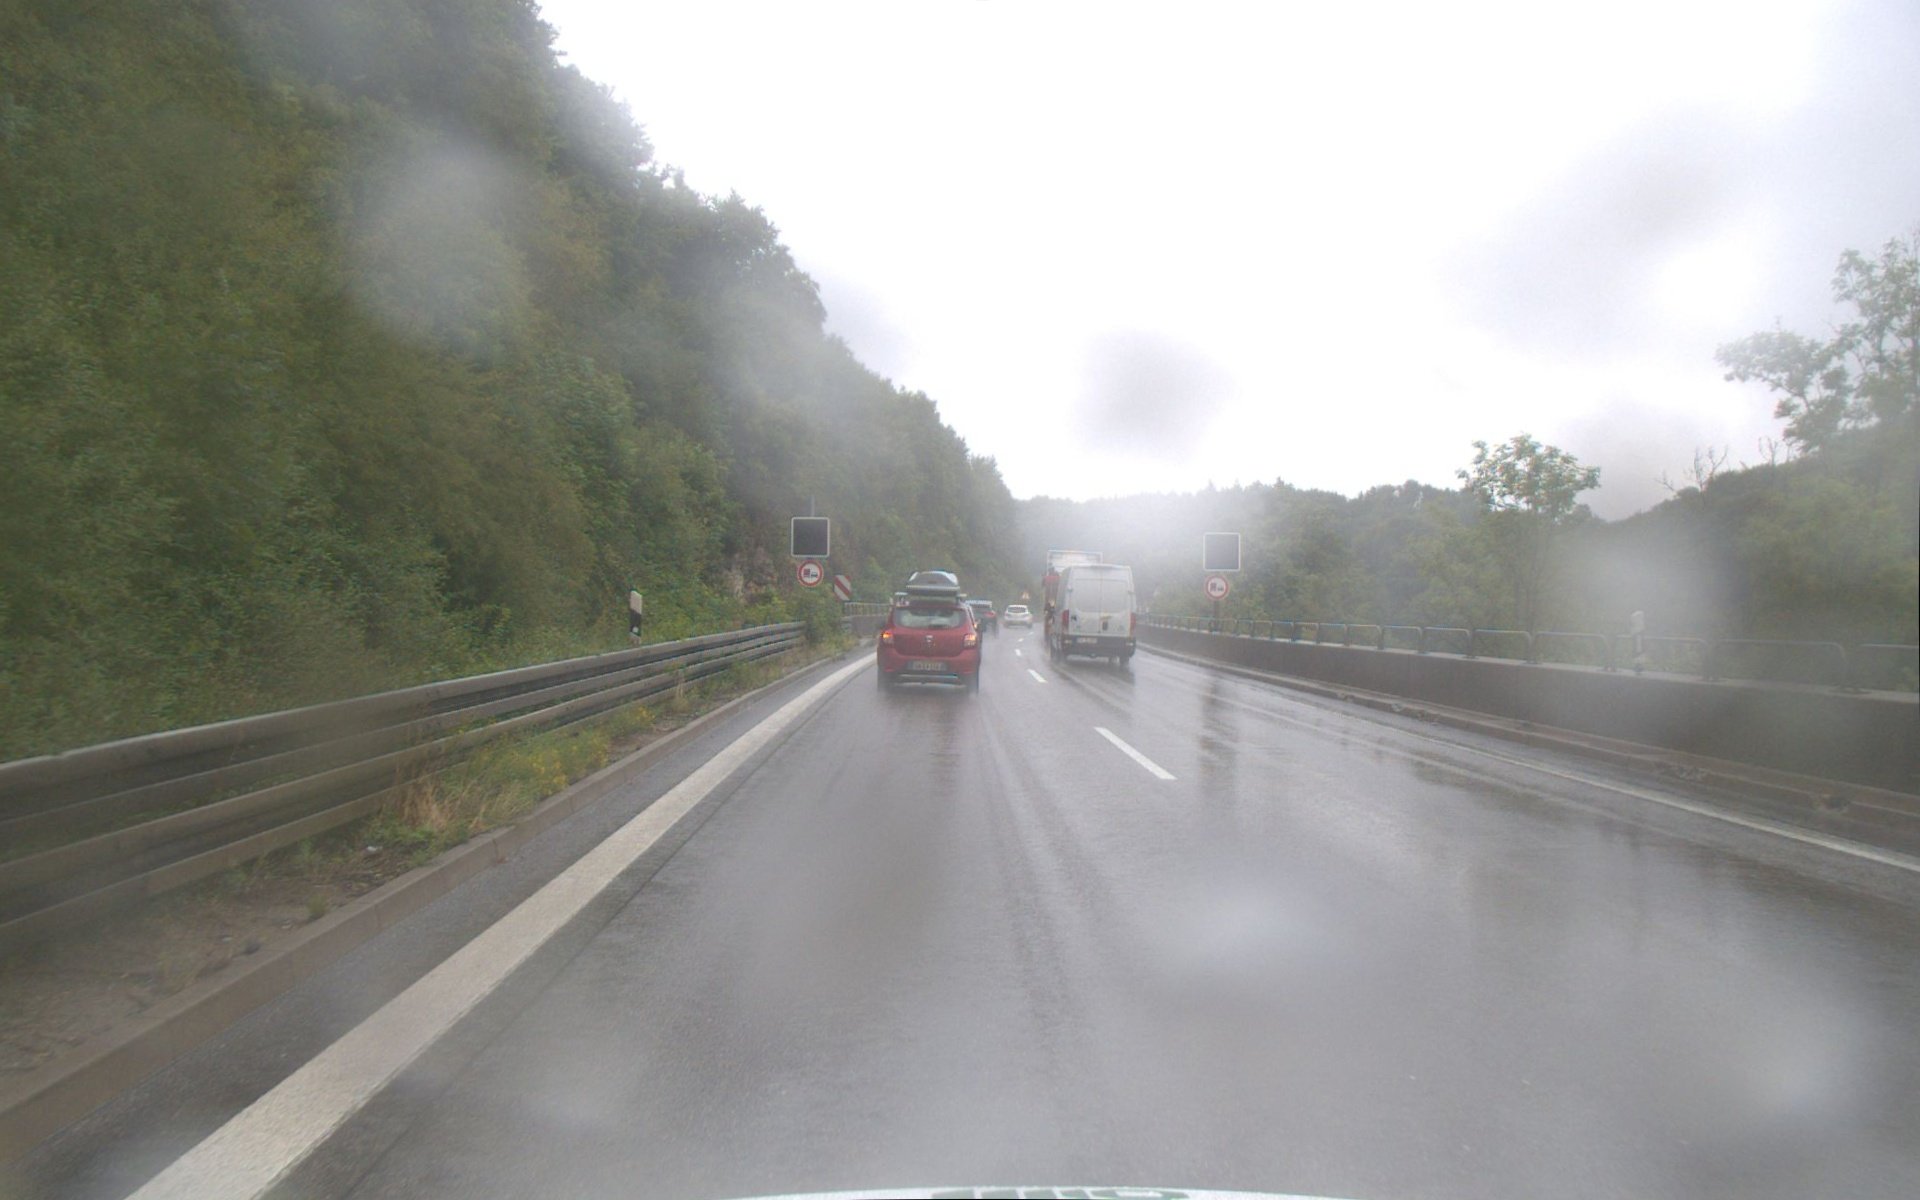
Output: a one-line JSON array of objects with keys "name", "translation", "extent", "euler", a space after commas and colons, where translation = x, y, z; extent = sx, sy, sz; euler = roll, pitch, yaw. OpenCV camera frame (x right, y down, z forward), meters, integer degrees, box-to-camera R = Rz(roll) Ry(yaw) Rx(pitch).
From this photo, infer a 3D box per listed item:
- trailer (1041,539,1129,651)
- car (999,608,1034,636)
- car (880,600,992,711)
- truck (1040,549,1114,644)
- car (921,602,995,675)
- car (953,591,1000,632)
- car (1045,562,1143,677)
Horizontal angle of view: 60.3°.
[{"name": "trailer", "translation": [4.882, -0.161, 67.202], "extent": [3.151, 4.069, 13.528], "euler": [0, 0, 3]}, {"name": "car", "translation": [3.660, 1.388, 105.945], "extent": [1.951, 1.668, 4.002], "euler": [-2, -1, 6]}, {"name": "car", "translation": [-0.405, 0.906, 28.219], "extent": [1.722, 1.714, 3.999], "euler": [-2, -1, -1]}, {"name": "truck", "translation": [5.214, -0.144, 74.073], "extent": [3.152, 4.048, 5.441], "euler": [0, 0, 3]}, {"name": "car", "translation": [-0.041, 0.972, 42.769], "extent": [1.795, 1.745, 3.644], "euler": [-2, -1, 0]}, {"name": "car", "translation": [0.763, 0.540, 74.343], "extent": [1.835, 1.736, 3.890], "euler": [-2, -1, 4]}, {"name": "car", "translation": [3.588, 0.498, 45.622], "extent": [2.160, 2.843, 7.383], "euler": [2, 0, 1]}]
